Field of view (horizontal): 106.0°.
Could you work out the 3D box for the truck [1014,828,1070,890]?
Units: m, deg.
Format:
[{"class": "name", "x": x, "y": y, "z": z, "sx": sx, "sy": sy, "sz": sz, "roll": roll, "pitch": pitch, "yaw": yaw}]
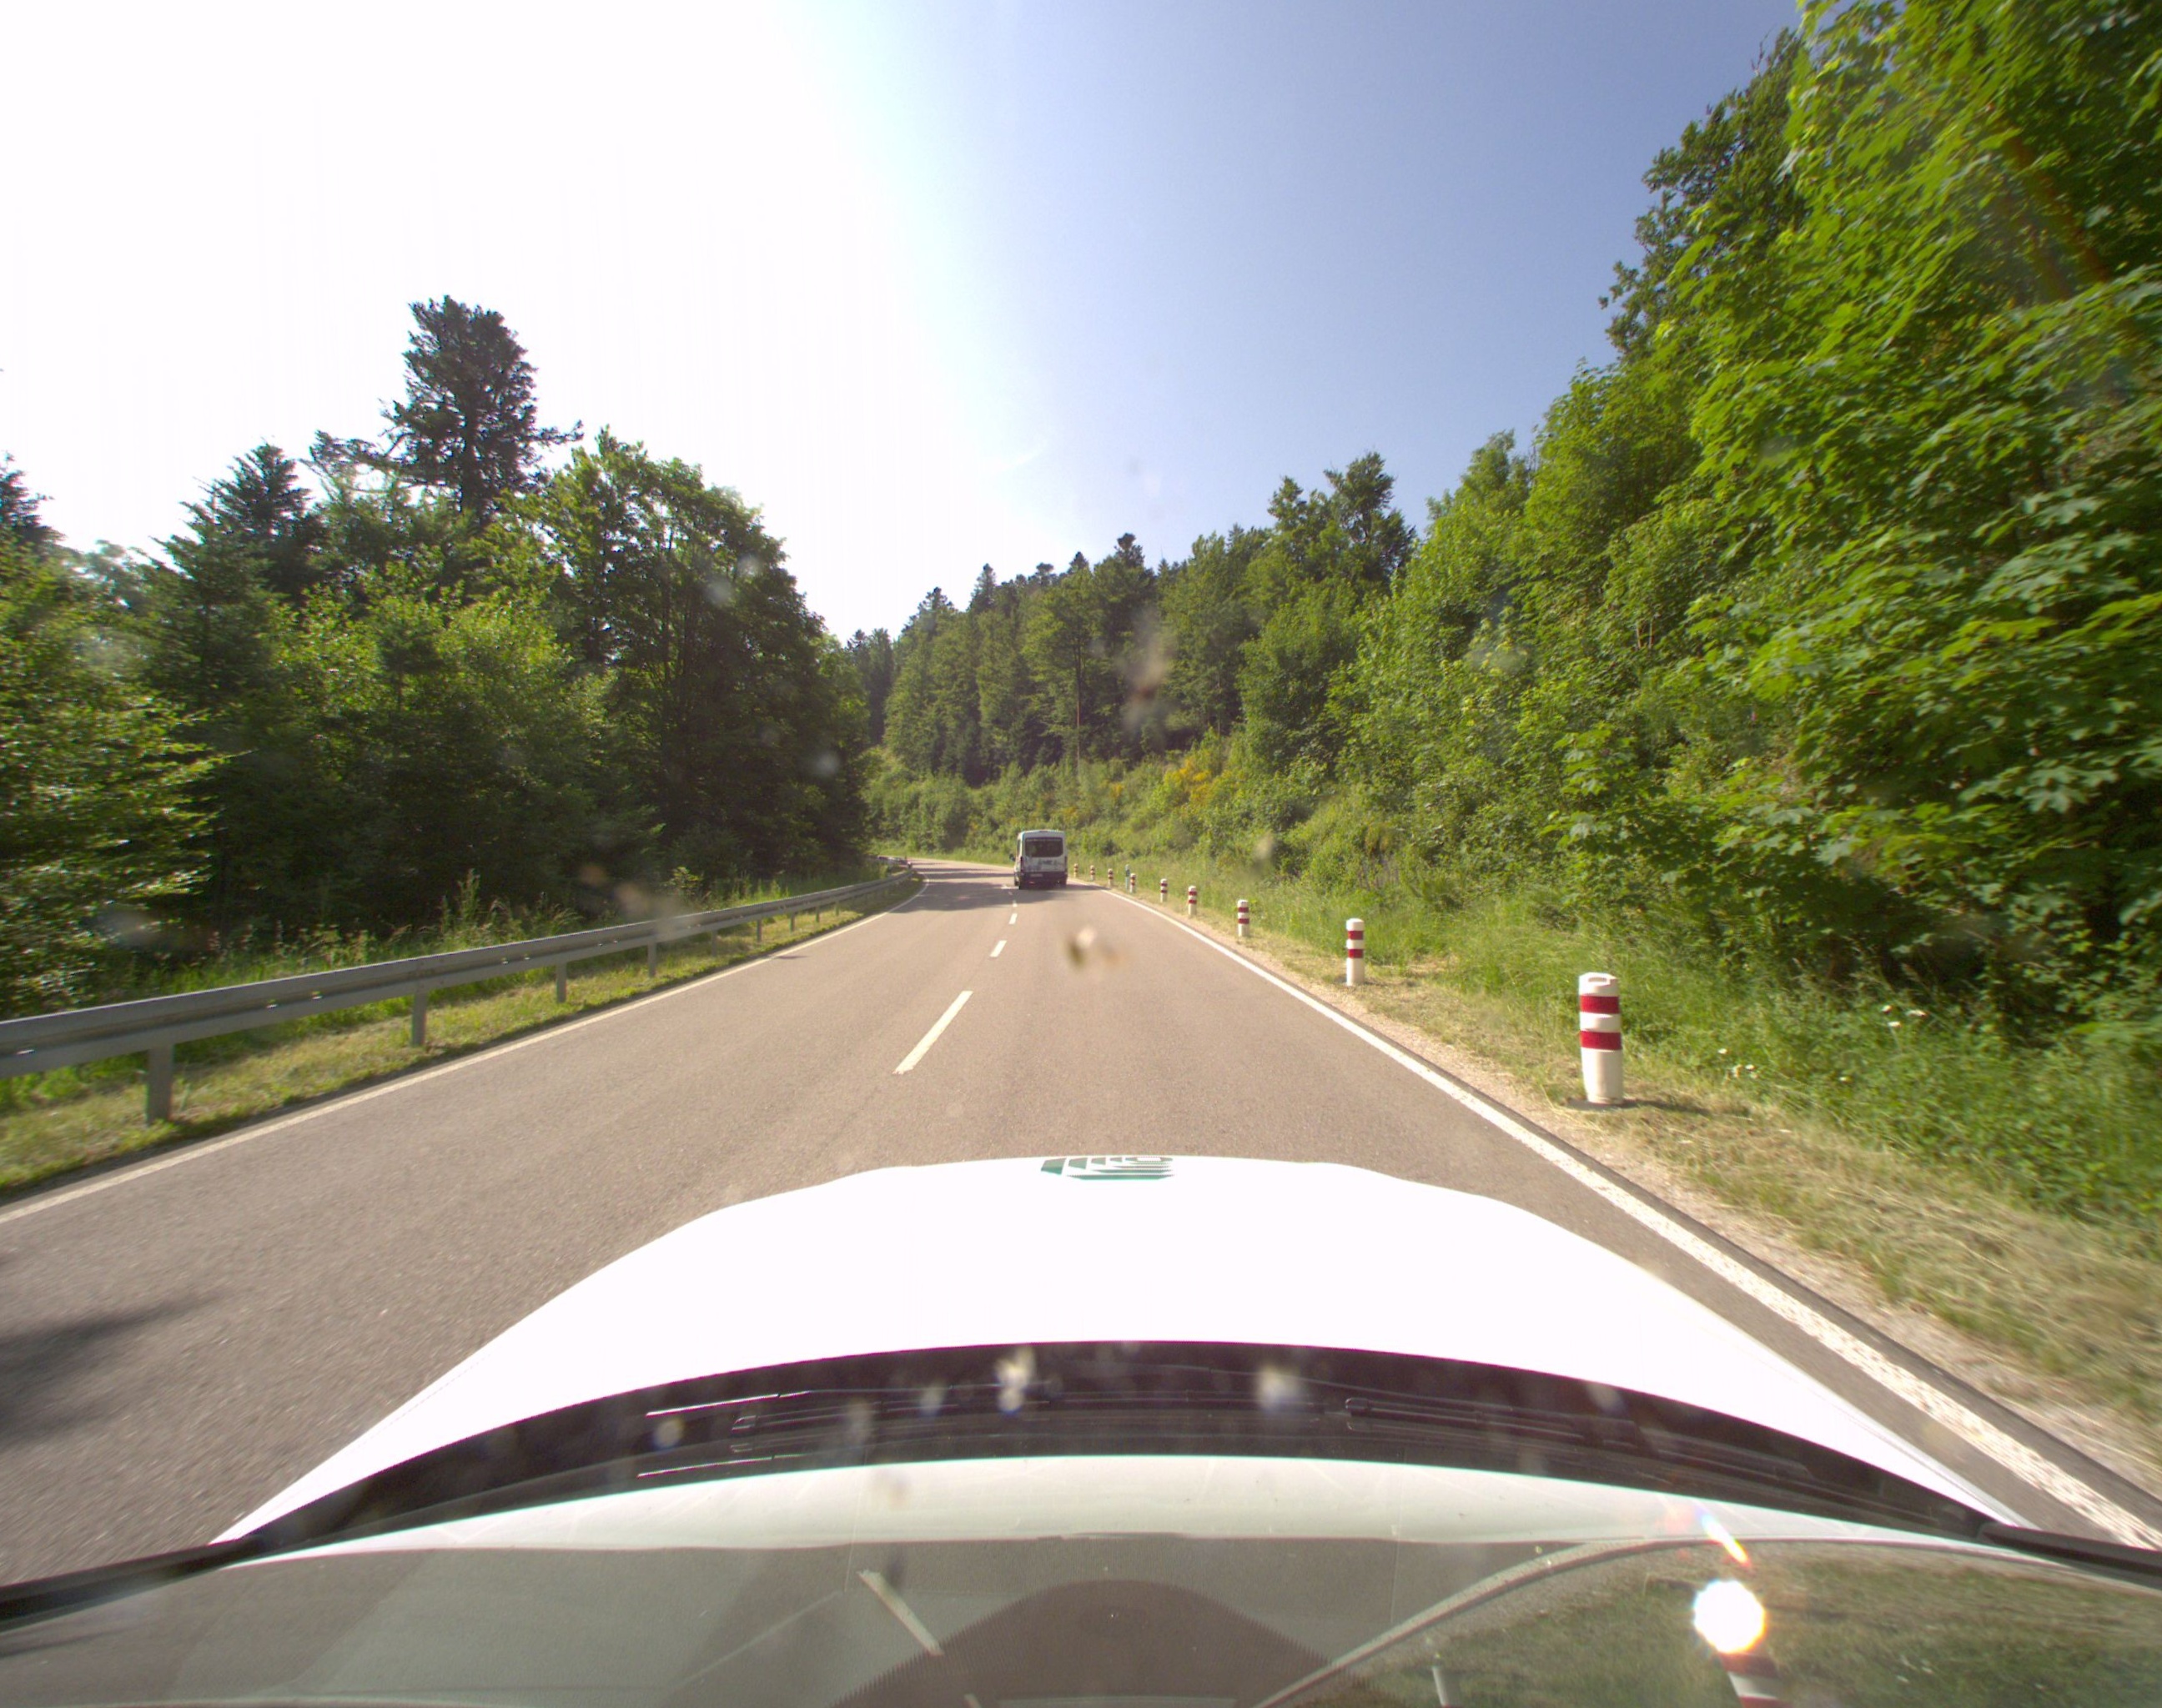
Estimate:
[{"class": "truck", "x": -1.813, "y": 0.172, "z": 35.894, "sx": 2.113, "sy": 2.498, "sz": 5.347, "roll": -1, "pitch": 0, "yaw": -6}]
